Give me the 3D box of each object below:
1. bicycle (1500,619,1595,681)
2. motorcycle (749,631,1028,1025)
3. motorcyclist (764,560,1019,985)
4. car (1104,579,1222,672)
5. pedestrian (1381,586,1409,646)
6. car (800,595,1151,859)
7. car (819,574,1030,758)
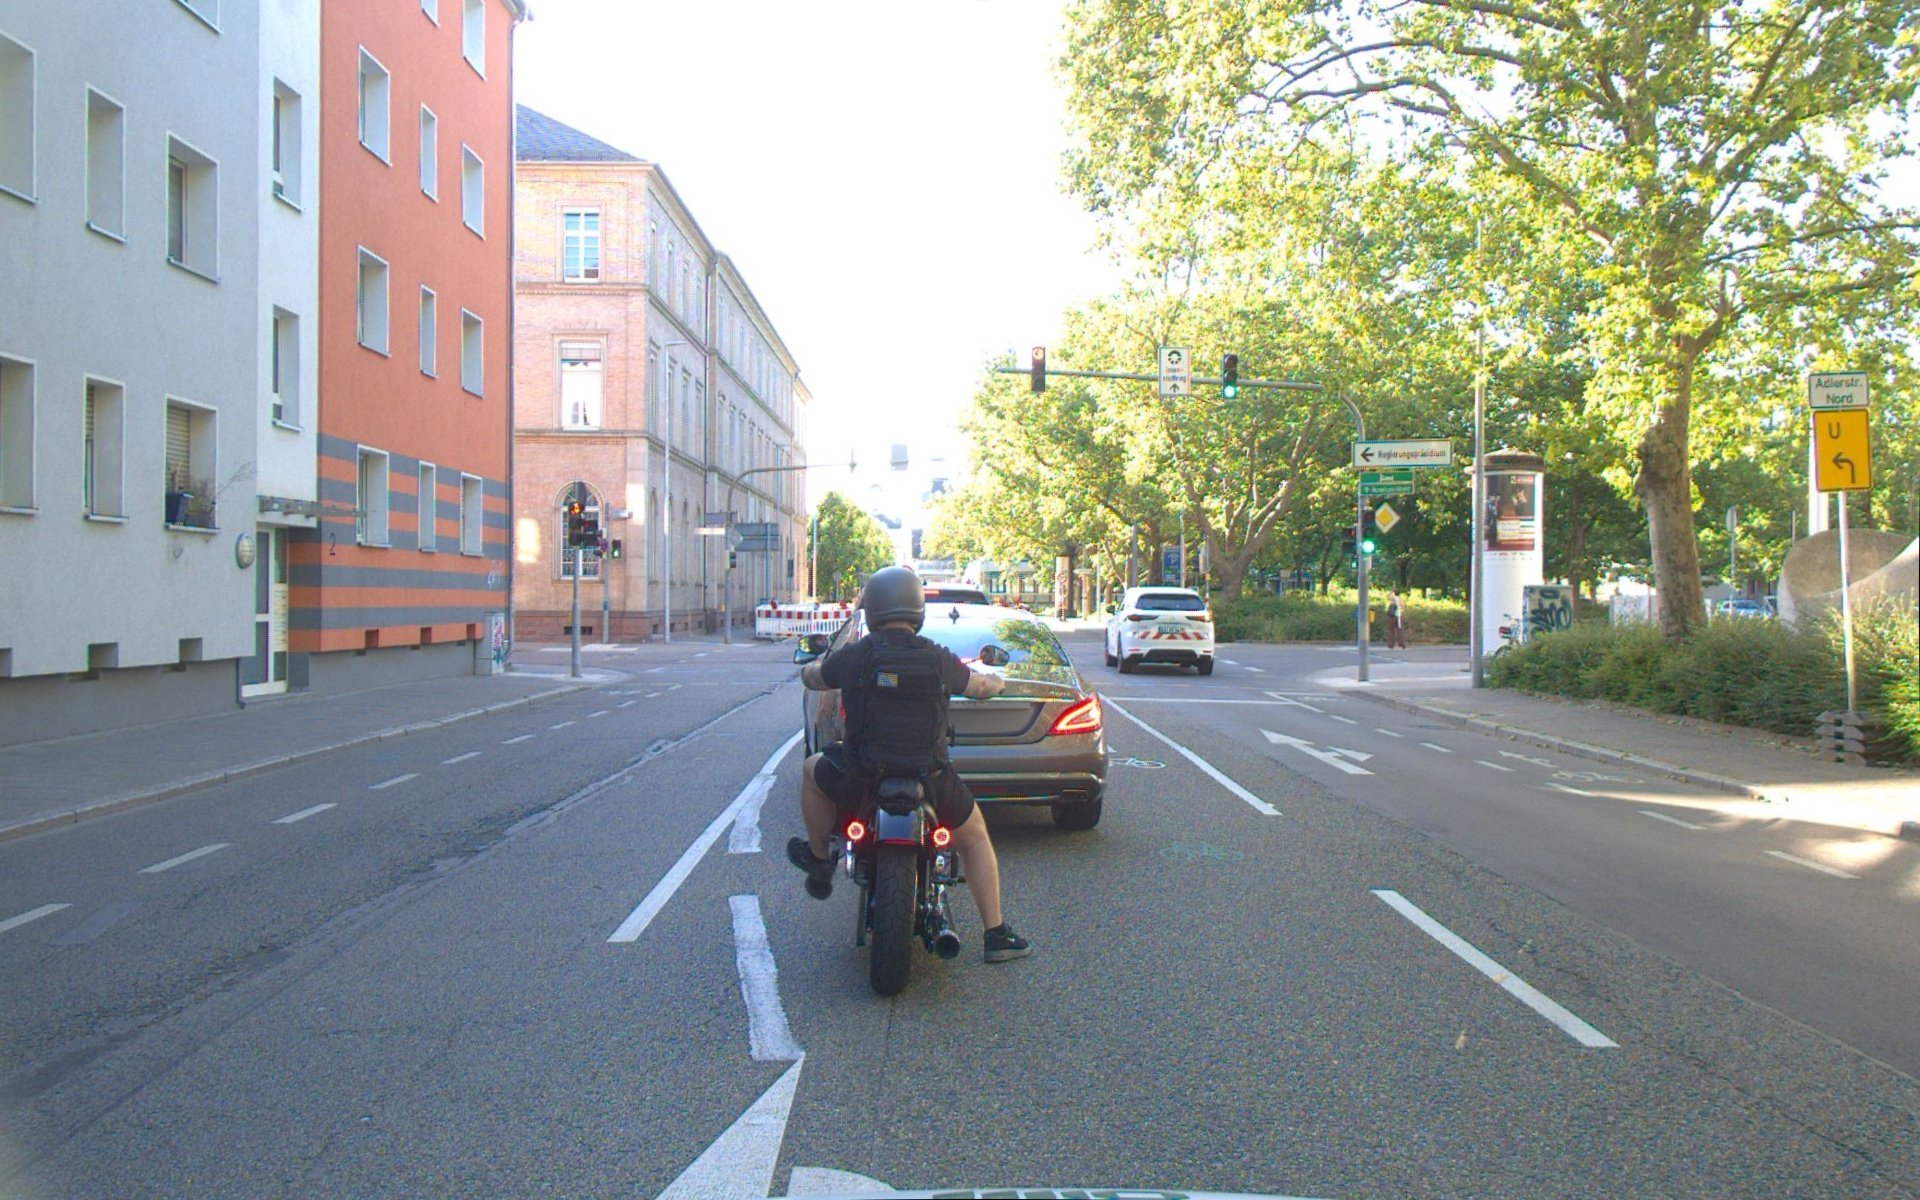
[{"bbox_3d":[9.791,0.834,27.595,1.452,0.997,0.299,1,-1,5],"label":"bicycle"},{"bbox_3d":[-0.263,0.809,6.912,0.961,1.297,2.407,0,0,-1],"label":"motorcycle"},{"bbox_3d":[-0.267,0.650,6.883,0.961,1.606,1.248,0,0,-1],"label":"motorcyclist"},{"bbox_3d":[4.097,0.468,34.090,1.903,1.738,4.484,1,0,1],"label":"car"},{"bbox_3d":[13.221,0.489,50.290,0.664,1.803,0.616,1,-1,29],"label":"pedestrian"},{"bbox_3d":[-0.110,0.709,11.618,1.834,1.469,4.422,0,0,-8],"label":"car"},{"bbox_3d":[-0.359,0.632,17.538,1.953,1.695,3.999,1,0,-1],"label":"car"}]
